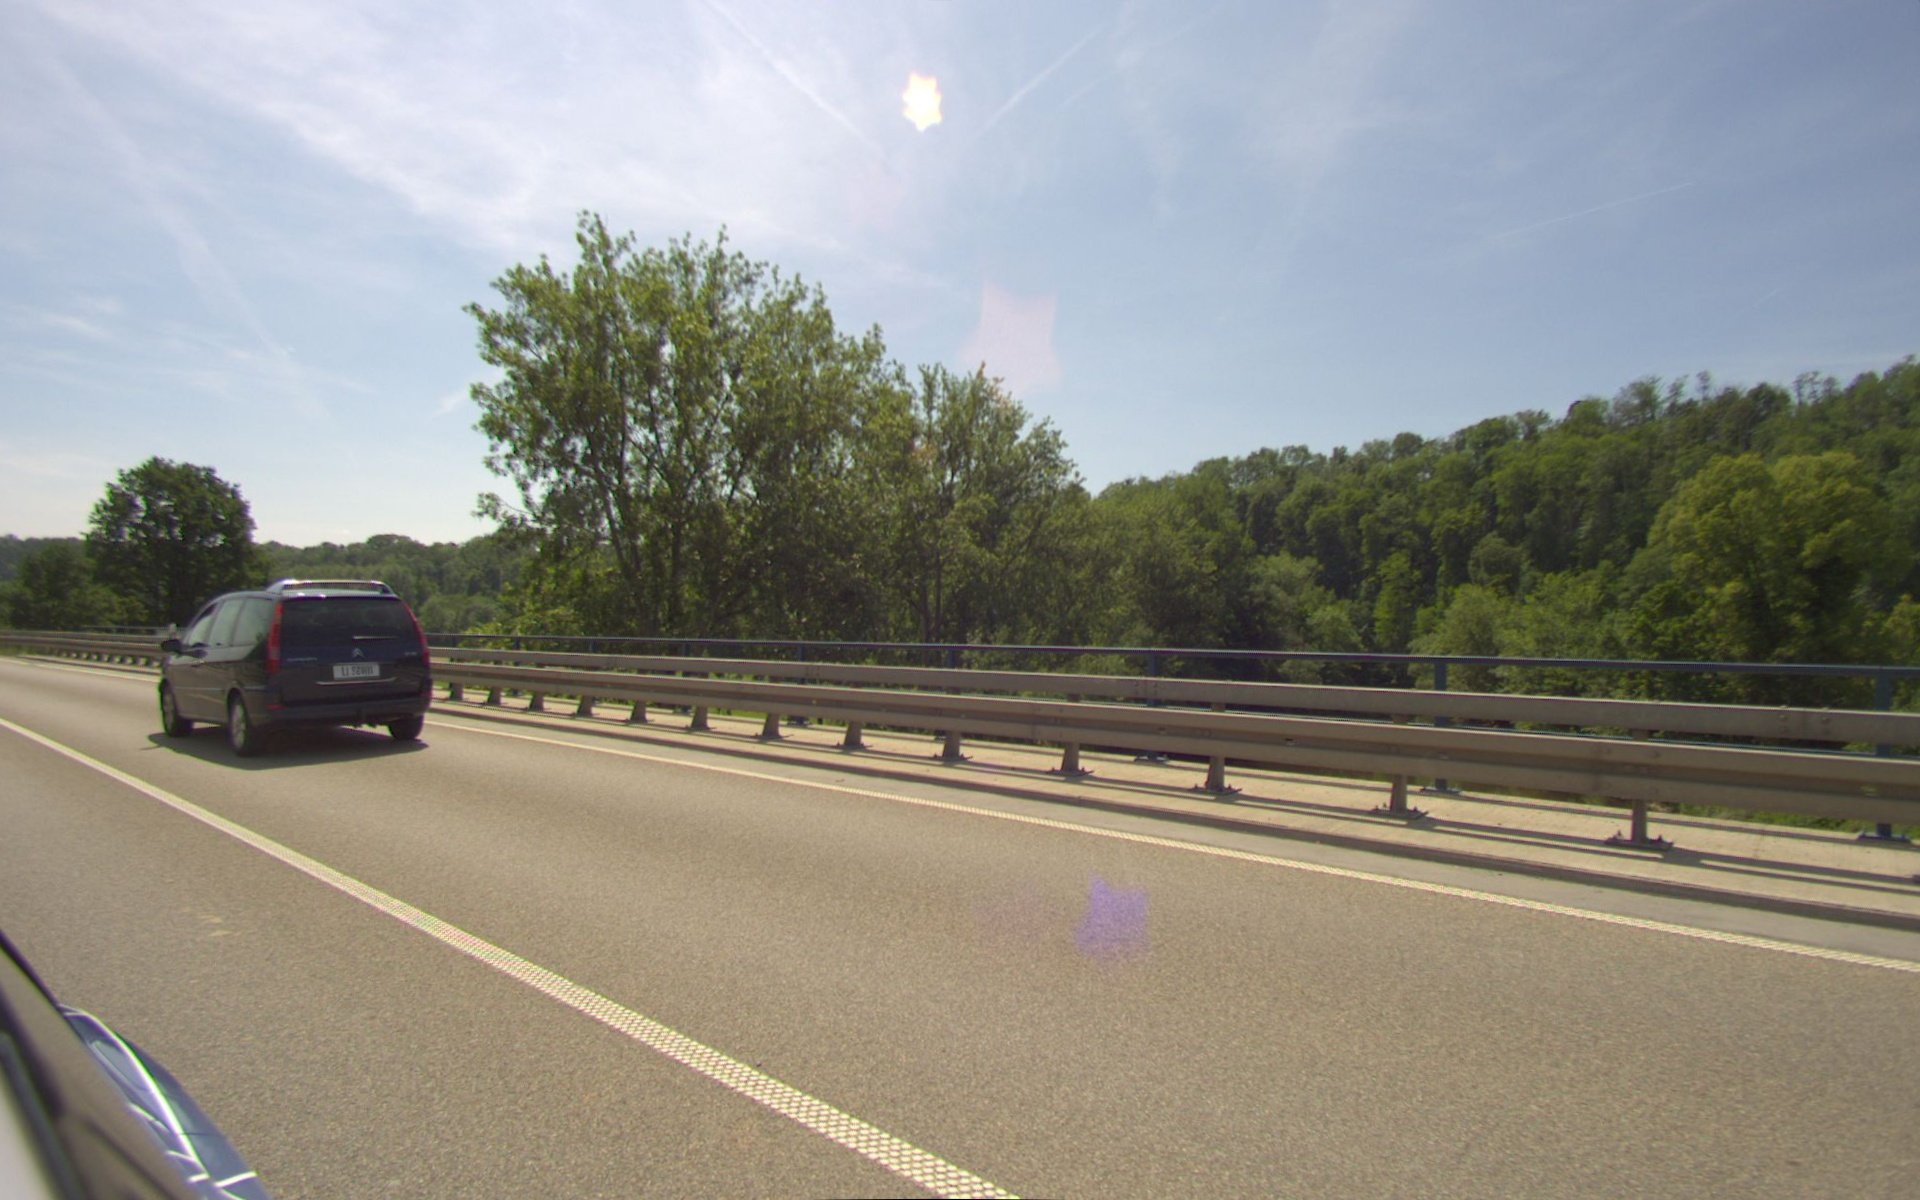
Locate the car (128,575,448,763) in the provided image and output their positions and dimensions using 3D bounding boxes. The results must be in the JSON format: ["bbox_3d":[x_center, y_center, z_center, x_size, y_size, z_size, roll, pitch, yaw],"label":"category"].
[{"bbox_3d":[-8.160,0.720,12.080,4.973,1.812,1.834,-2,-1,40],"label":"car"}]
